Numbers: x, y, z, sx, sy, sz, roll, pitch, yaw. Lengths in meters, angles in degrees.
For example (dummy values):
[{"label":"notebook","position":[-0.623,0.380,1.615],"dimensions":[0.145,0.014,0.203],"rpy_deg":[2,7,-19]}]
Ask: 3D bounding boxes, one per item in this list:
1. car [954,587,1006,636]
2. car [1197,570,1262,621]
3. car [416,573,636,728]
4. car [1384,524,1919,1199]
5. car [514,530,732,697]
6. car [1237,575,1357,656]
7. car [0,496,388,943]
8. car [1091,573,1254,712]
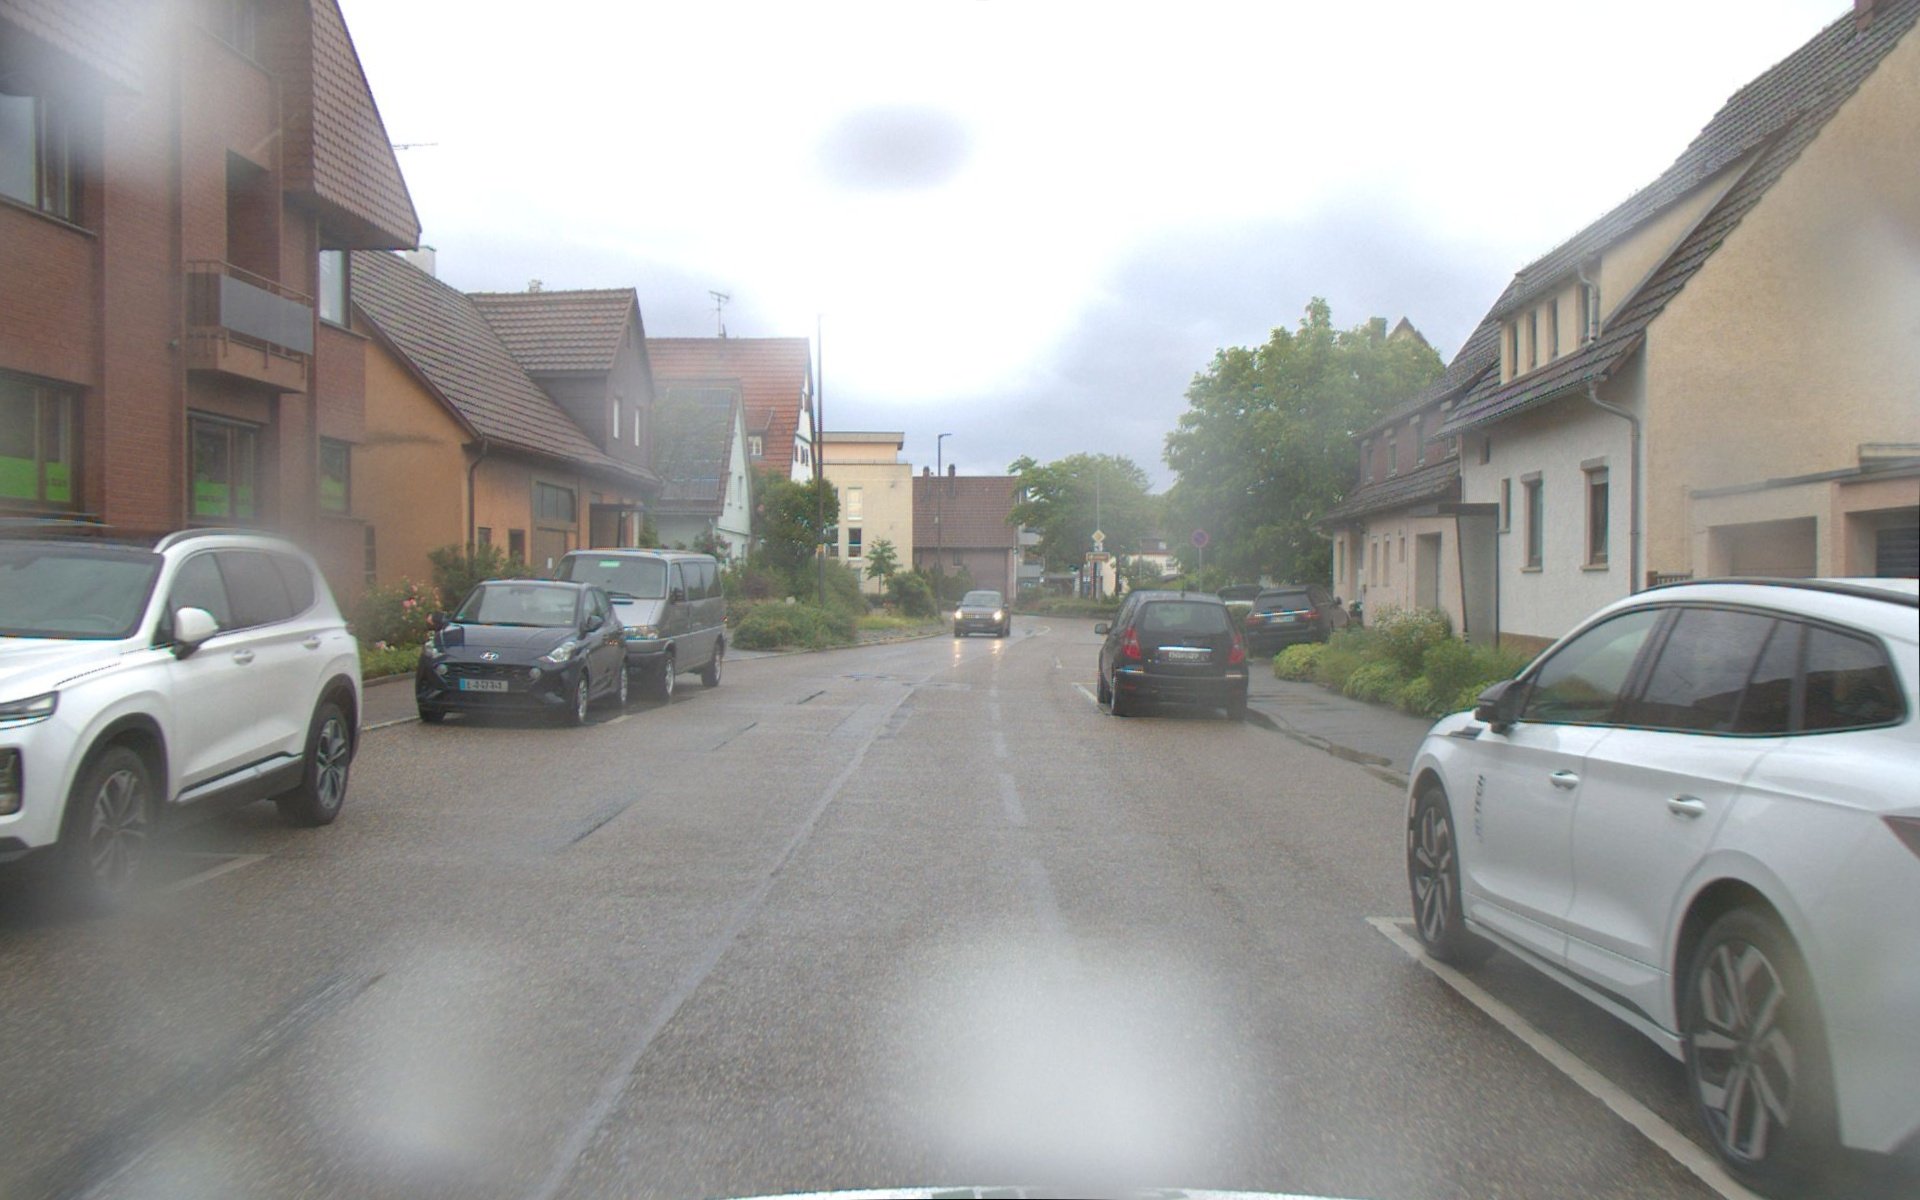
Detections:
[{"label":"car","position":[0.745,0.397,60.098],"dimensions":[1.760,1.669,4.001],"rpy_deg":[1,0,2]},{"label":"car","position":[7.956,-0.126,49.086],"dimensions":[1.603,1.455,3.679],"rpy_deg":[0,0,5]},{"label":"car","position":[-4.616,0.497,18.059],"dimensions":[1.546,1.523,3.566],"rpy_deg":[0,0,-2]},{"label":"car","position":[2.939,0.657,5.622],"dimensions":[1.766,1.623,4.611],"rpy_deg":[1,0,0]},{"label":"car","position":[-4.500,0.160,22.923],"dimensions":[1.783,2.049,5.216],"rpy_deg":[0,0,2]},{"label":"car","position":[7.263,0.298,35.377],"dimensions":[1.723,1.417,4.000],"rpy_deg":[-6,-1,22]},{"label":"car","position":[-4.466,0.441,8.373],"dimensions":[1.729,1.647,4.653],"rpy_deg":[0,0,-3]},{"label":"car","position":[2.817,0.530,22.664],"dimensions":[1.713,1.740,4.000],"rpy_deg":[0,0,0]}]
